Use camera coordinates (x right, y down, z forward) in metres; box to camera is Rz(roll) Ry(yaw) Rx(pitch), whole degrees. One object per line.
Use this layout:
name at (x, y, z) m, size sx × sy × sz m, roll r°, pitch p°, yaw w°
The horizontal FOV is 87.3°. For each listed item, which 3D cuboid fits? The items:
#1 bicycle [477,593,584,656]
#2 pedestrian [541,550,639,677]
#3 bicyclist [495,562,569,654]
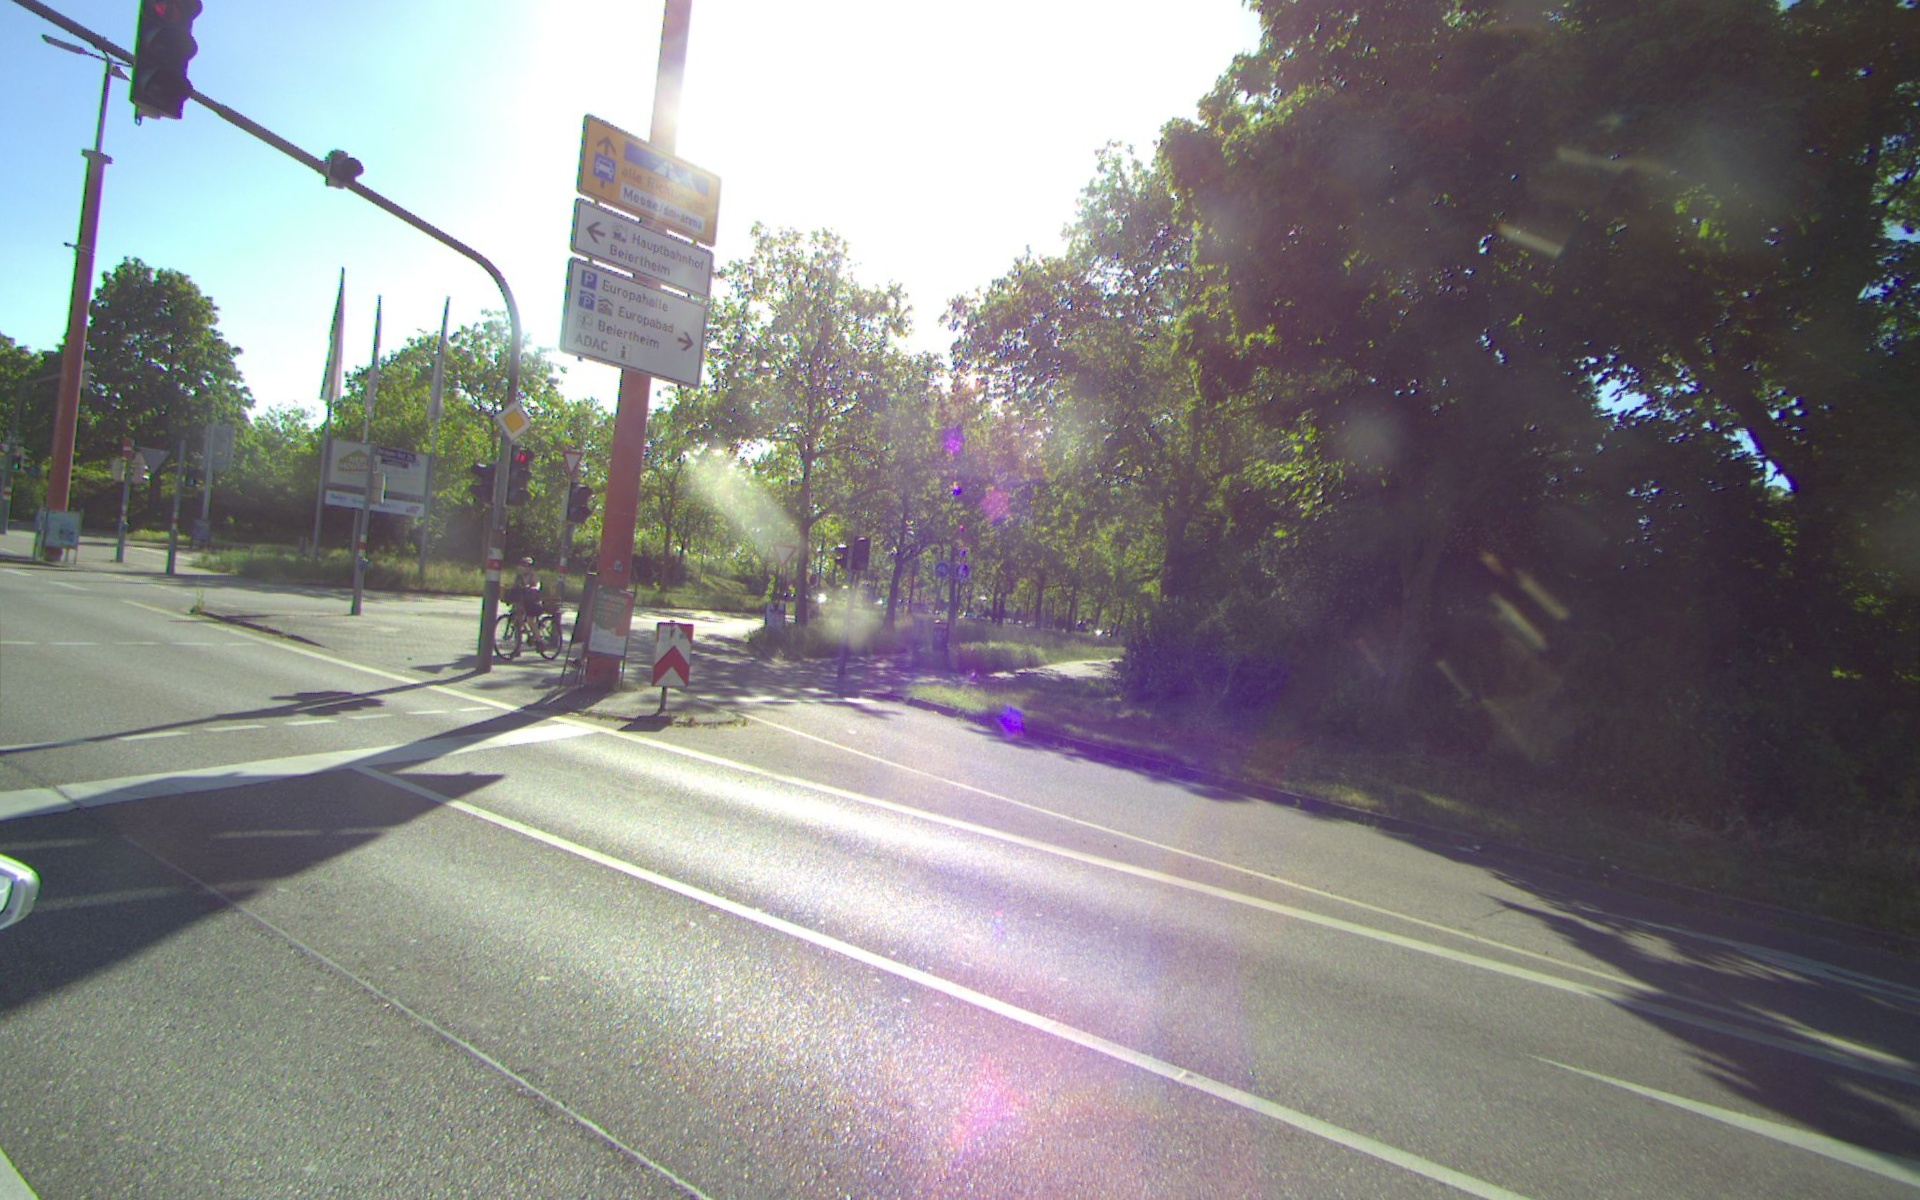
bicycle at (-6.841, 0.396, 16.157) m, size 0.549 × 0.889 × 2.170 m, roll 7°, pitch -1°, yaw 5°
pedestrian at (-5.728, 0.225, 15.603) m, size 0.883 × 1.810 × 0.895 m, roll 7°, pitch 0°, yaw 13°
bicyclist at (-6.863, 0.133, 16.156) m, size 0.694 × 1.358 × 0.742 m, roll 7°, pitch 0°, yaw 3°
